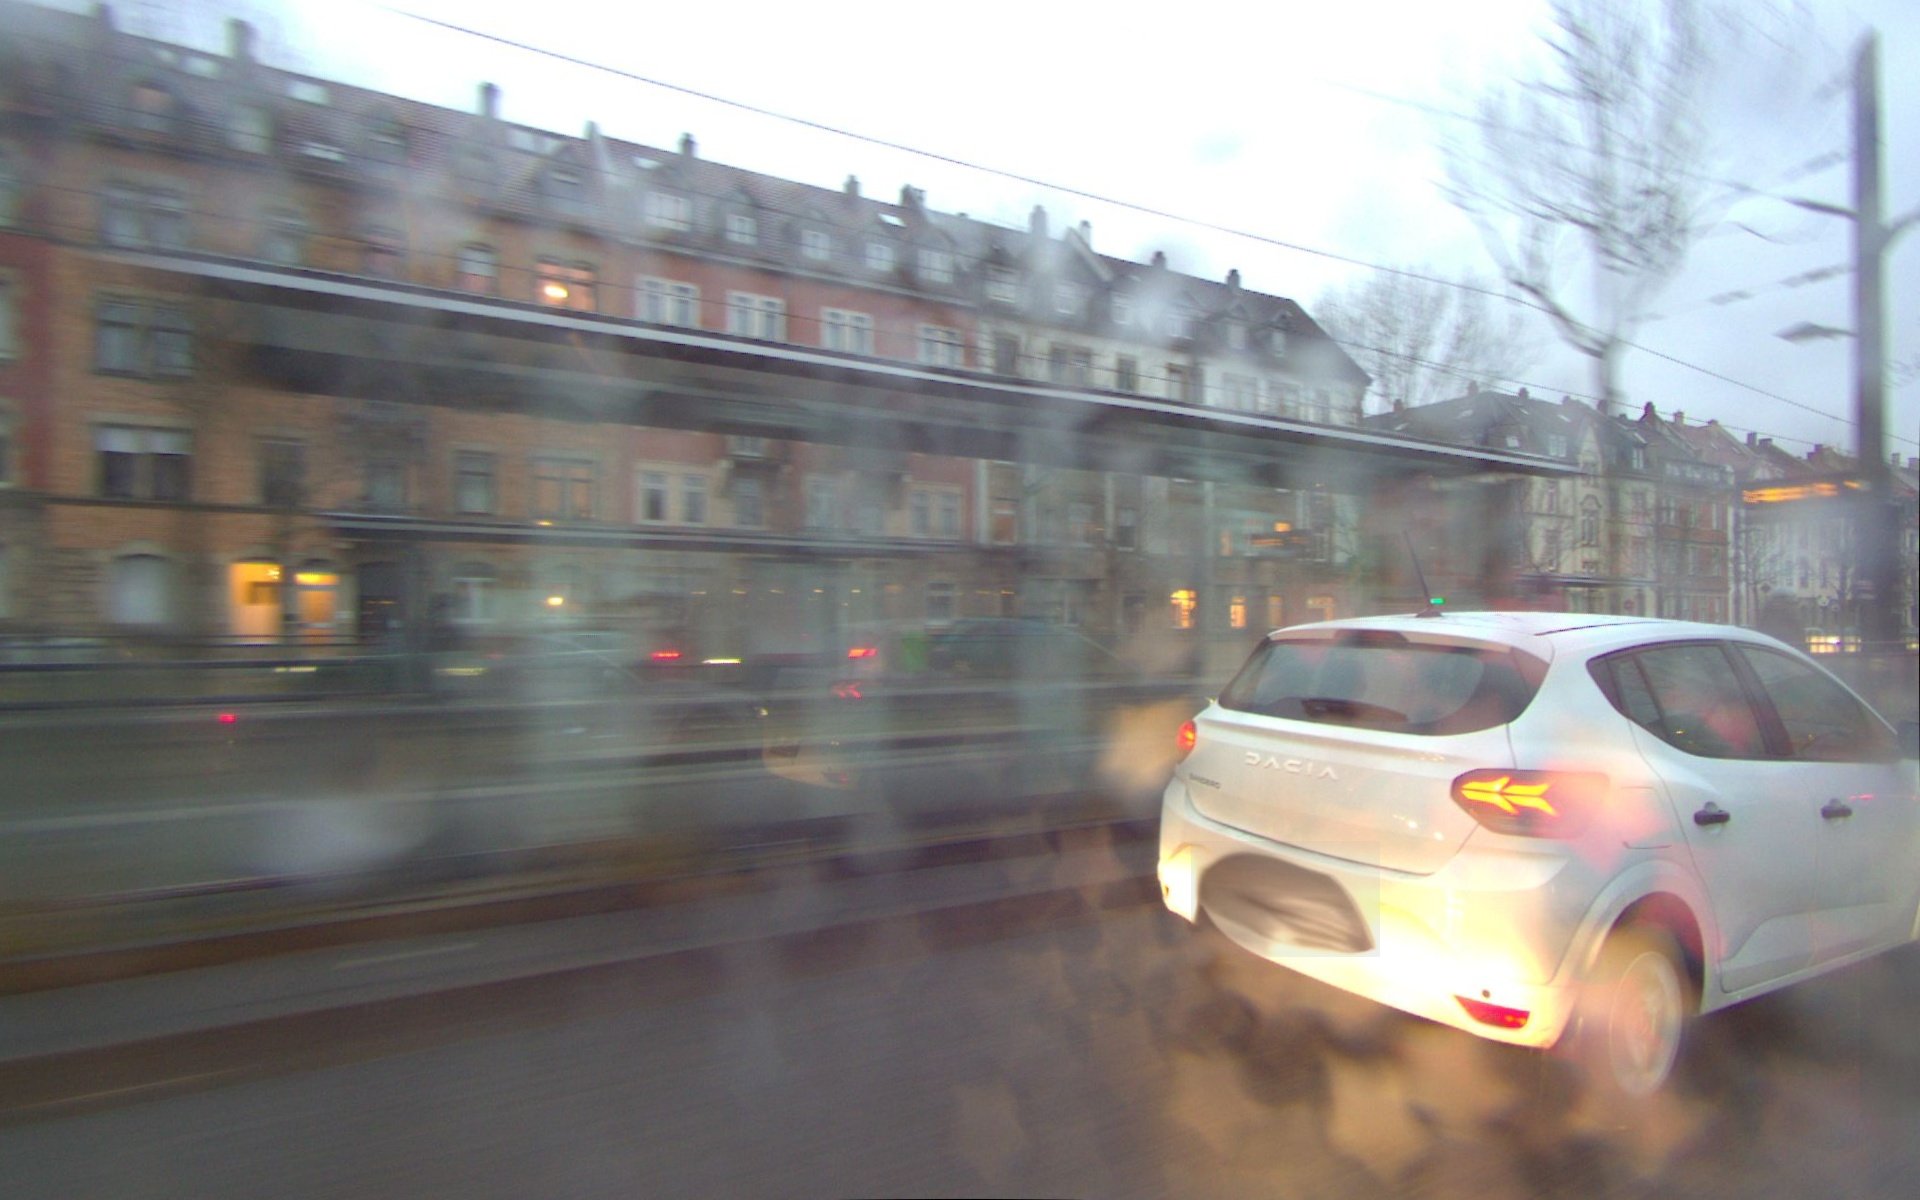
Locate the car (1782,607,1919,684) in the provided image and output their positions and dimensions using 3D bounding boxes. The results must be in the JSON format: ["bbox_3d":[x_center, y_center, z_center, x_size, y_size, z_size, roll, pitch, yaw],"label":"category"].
[{"bbox_3d":[23.194,1.149,25.777,3.953,1.847,1.984,1,-2,-31],"label":"car"}]

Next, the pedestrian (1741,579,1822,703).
[{"bbox_3d":[11.192,0.550,13.692,0.740,1.628,0.705,1,0,-38],"label":"pedestrian"}]

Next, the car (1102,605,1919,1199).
[{"bbox_3d":[2.650,0.797,4.160,3.953,1.506,1.618,0,-2,-31],"label":"car"}]

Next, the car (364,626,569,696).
[{"bbox_3d":[-10.887,1.303,22.258,3.953,1.415,1.652,1,-2,-30],"label":"car"}]

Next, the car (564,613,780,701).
[{"bbox_3d":[-5.924,1.121,20.719,3.953,1.637,1.984,1,-2,-30],"label":"car"}]
